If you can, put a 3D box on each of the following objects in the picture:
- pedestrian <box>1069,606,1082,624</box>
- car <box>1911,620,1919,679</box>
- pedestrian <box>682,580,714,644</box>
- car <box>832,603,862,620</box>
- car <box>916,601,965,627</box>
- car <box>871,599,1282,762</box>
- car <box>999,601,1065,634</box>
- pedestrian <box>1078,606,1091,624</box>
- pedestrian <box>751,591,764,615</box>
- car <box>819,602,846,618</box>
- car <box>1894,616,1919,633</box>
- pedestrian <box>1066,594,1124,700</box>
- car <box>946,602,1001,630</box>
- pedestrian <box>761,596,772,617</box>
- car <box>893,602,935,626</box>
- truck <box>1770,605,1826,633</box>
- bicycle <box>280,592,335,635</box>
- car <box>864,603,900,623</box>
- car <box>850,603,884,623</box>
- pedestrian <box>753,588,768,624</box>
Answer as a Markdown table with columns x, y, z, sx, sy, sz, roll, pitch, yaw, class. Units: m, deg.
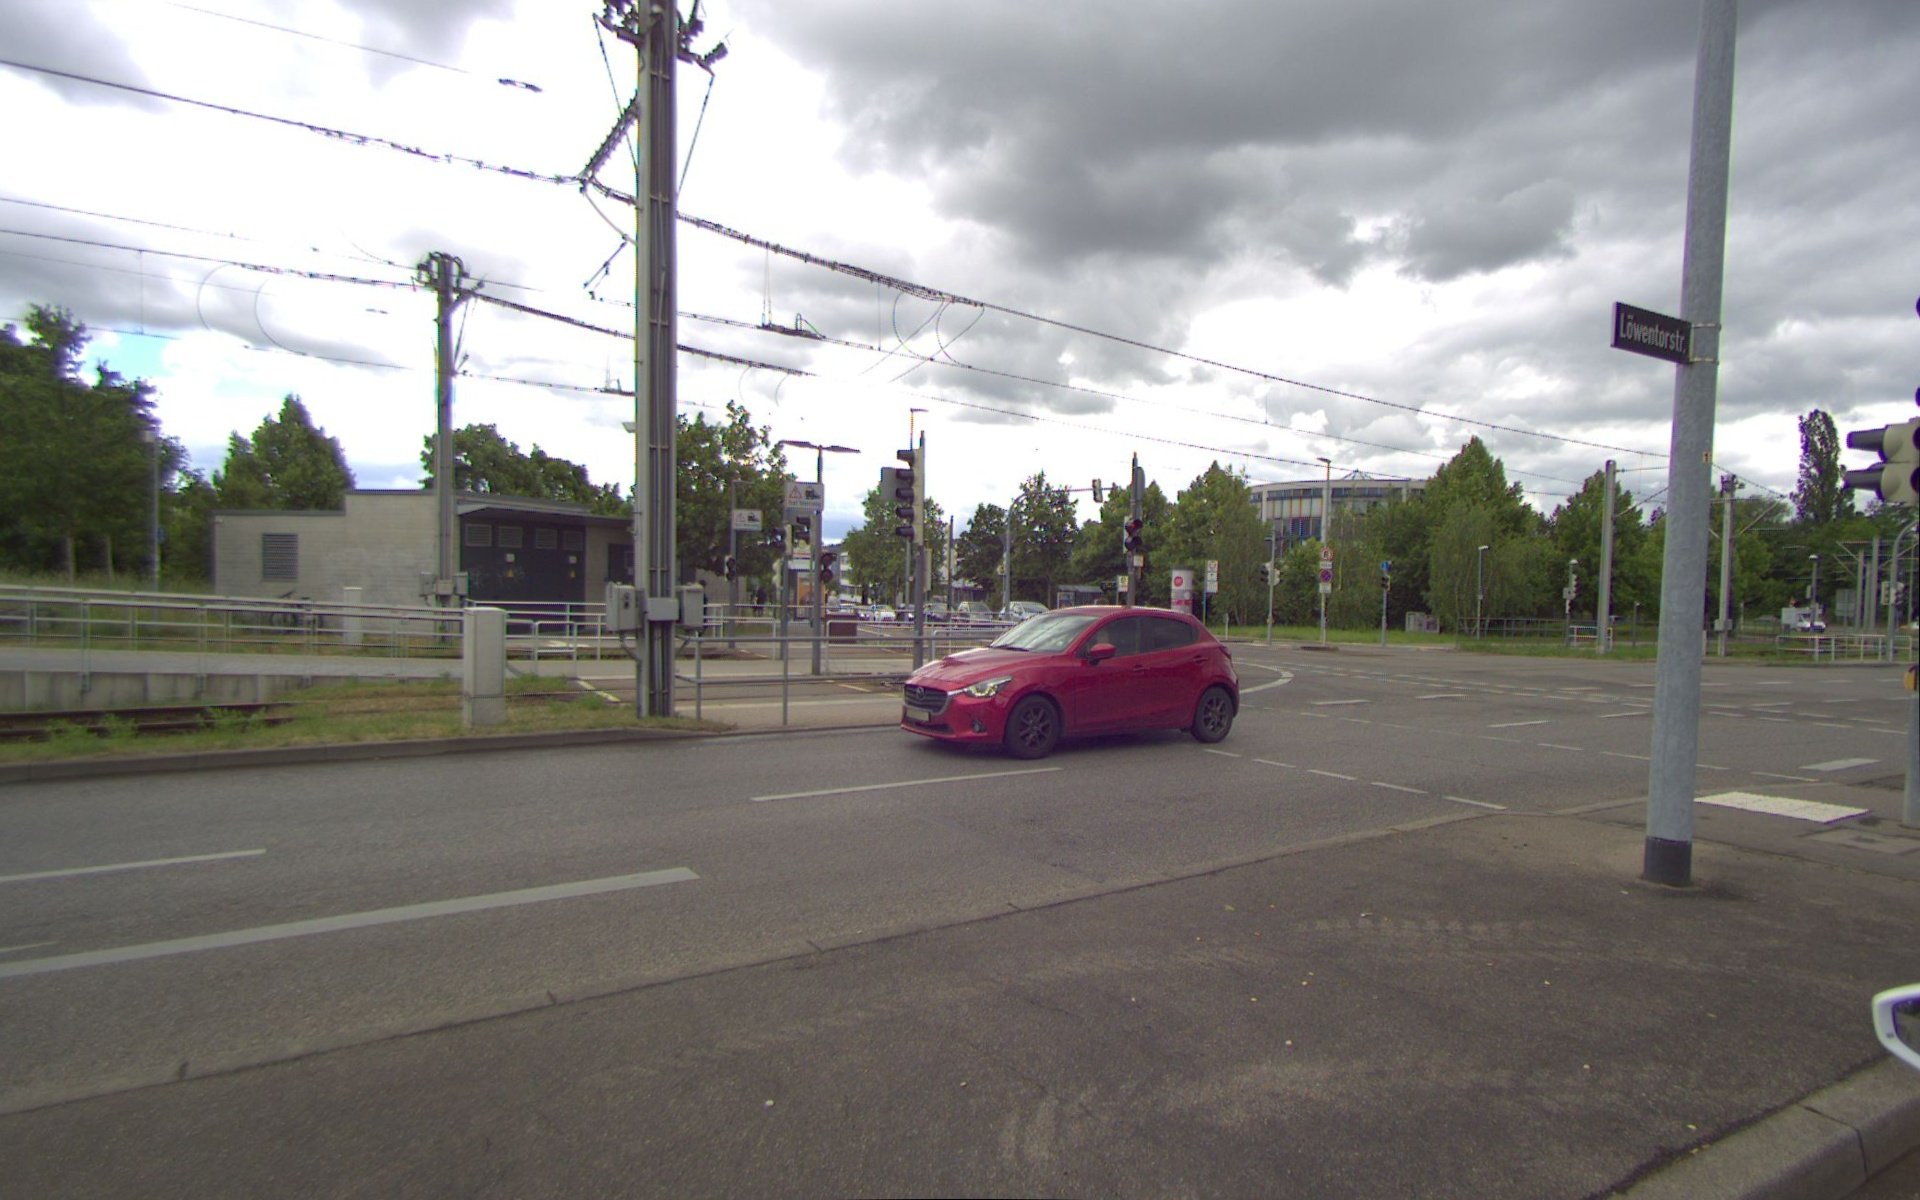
| x | y | z | sx | sy | sz | roll | pitch | yaw | class |
| --- | --- | --- | --- | --- | --- | --- | --- | --- | --- |
| 8.367 | 1.077 | 72.937 | 0.652 | 1.321 | 0.780 | 1 | 0 | -16 | pedestrian |
| 28.995 | 1.415 | 28.659 | 4.380 | 1.650 | 1.817 | 1 | -1 | -34 | car |
| -6.689 | 0.307 | 25.665 | 0.696 | 1.628 | 0.654 | 1 | 0 | -22 | pedestrian |
| -9.769 | 0.982 | 86.720 | 1.706 | 1.456 | 3.731 | 1 | 0 | -20 | car |
| -1.152 | 0.814 | 58.169 | 1.706 | 1.456 | 3.731 | 1 | 0 | -20 | car |
| 1.371 | 0.763 | 10.980 | 4.379 | 1.462 | 1.770 | 1 | -1 | -34 | car |
| 3.300 | 0.798 | 46.813 | 1.706 | 1.456 | 3.731 | 1 | 0 | -20 | car |
| 8.854 | 1.068 | 71.628 | 0.652 | 1.322 | 0.780 | 1 | 0 | -16 | pedestrian |
| -14.510 | 0.205 | 71.888 | 0.771 | 1.649 | 0.660 | 1 | 0 | -22 | pedestrian |
| -11.931 | 0.957 | 94.076 | 1.706 | 1.456 | 3.731 | 1 | 0 | -20 | car |
| 114.317 | 2.955 | 120.099 | 1.959 | 2.040 | 4.002 | 2 | 0 | 11 | car |
| 2.078 | 0.703 | 15.443 | 0.701 | 1.584 | 0.533 | 1 | 1 | -44 | pedestrian |
| 0.688 | 0.842 | 53.672 | 1.706 | 1.456 | 3.731 | 1 | 0 | -20 | car |
| -15.312 | 0.519 | 79.530 | 0.695 | 1.649 | 0.629 | 1 | 0 | -24 | pedestrian |
| -3.005 | 0.885 | 64.935 | 1.706 | 1.456 | 3.731 | 1 | 0 | -20 | car |
| 101.354 | 2.273 | 121.549 | 2.080 | 3.176 | 5.902 | 2 | 0 | 3 | truck |
| -17.330 | 0.347 | 26.682 | 1.452 | 1.101 | 0.492 | 1 | 0 | 22 | bicycle |
| -5.814 | 0.959 | 74.785 | 1.706 | 1.456 | 3.731 | 1 | 0 | -20 | car |
| -7.419 | 1.019 | 79.688 | 1.706 | 1.456 | 3.991 | 1 | 0 | -20 | car |
| -11.339 | 0.340 | 57.039 | 0.738 | 1.993 | 0.795 | 1 | 0 | -9 | pedestrian |
